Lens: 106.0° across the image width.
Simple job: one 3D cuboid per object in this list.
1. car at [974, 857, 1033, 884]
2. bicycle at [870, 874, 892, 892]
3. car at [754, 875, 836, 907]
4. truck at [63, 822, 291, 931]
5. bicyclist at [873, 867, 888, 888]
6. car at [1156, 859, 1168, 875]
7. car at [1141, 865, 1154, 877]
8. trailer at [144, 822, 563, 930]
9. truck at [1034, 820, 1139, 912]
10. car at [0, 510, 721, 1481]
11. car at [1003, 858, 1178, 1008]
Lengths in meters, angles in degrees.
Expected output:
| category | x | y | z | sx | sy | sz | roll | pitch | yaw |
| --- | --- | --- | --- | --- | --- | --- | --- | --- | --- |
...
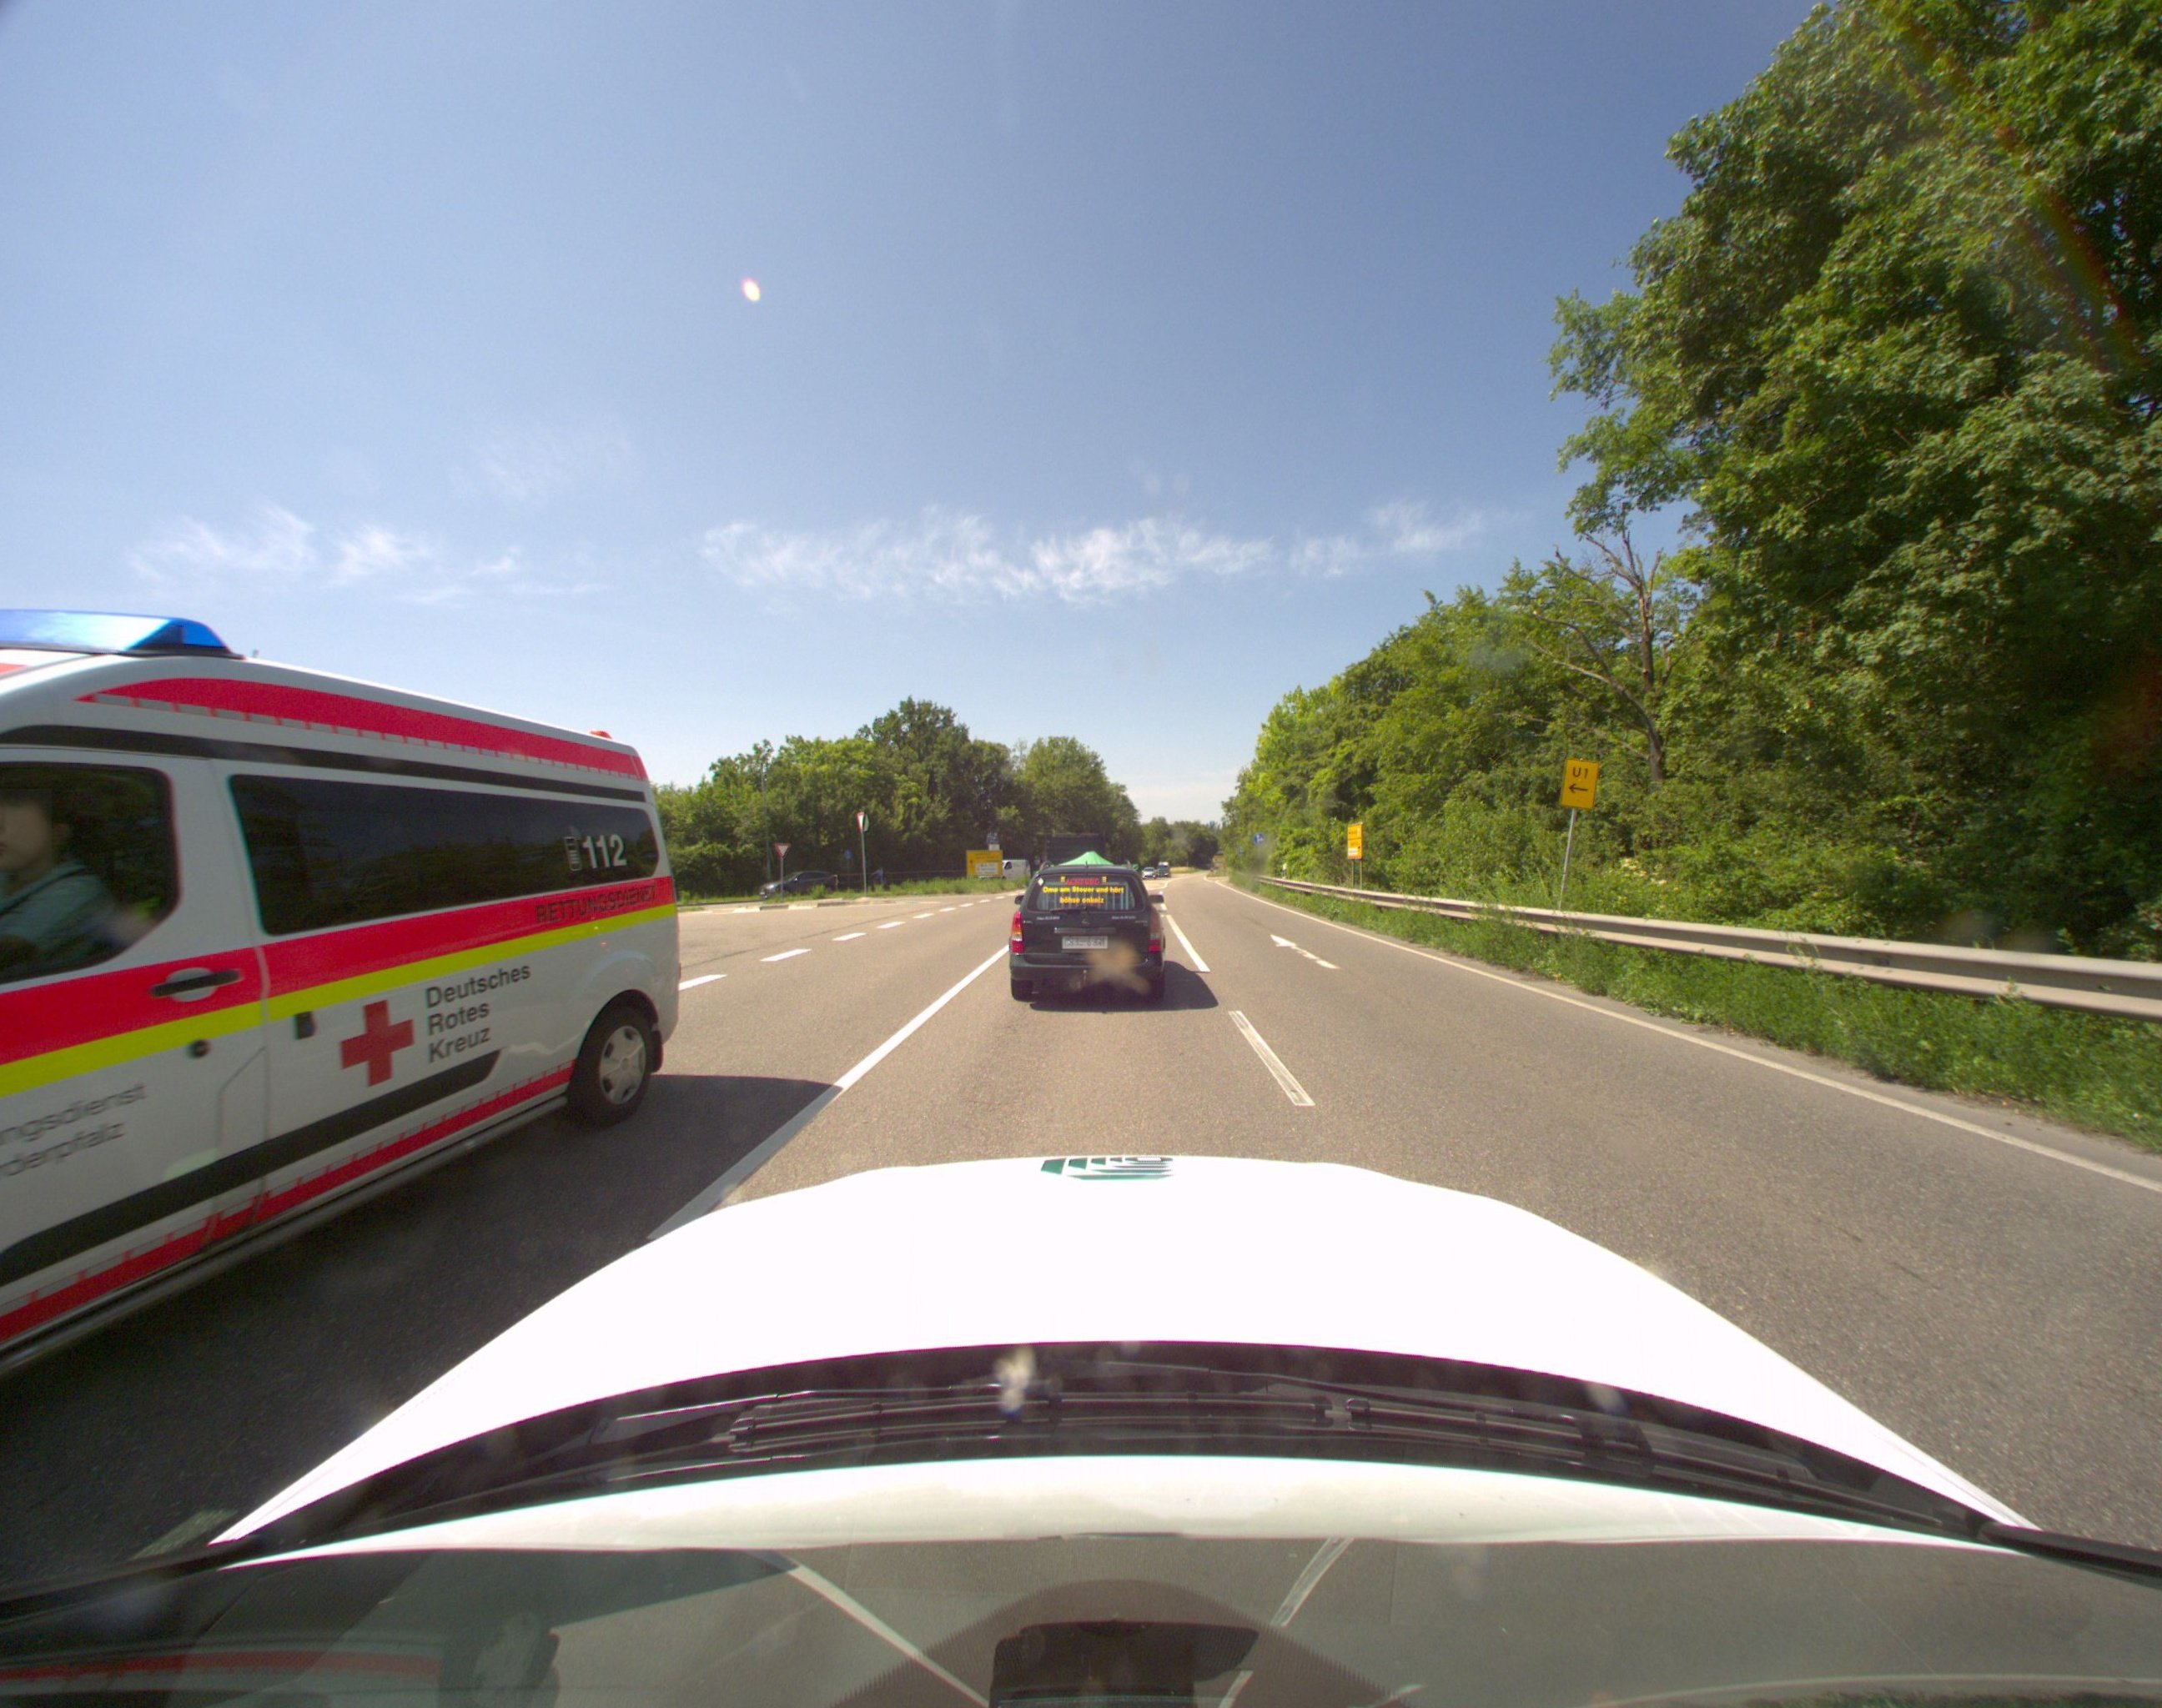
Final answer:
| category | x | y | z | sx | sy | sz | roll | pitch | yaw |
| --- | --- | --- | --- | --- | --- | --- | --- | --- | --- |
| car | -5.674 | 1.172 | 60.225 | 1.992 | 1.924 | 5.223 | -1 | 0 | 24 |
| bicycle | -13.427 | 1.933 | 54.589 | 0.431 | 1.113 | 1.491 | -2 | -1 | 36 |
| car | -15.810 | 2.011 | 45.143 | 3.951 | 1.596 | 1.748 | -1 | 0 | -44 |
| truck | -37.865 | 0.899 | 34.346 | 5.899 | 4.275 | 2.993 | -1 | 0 | -5 |
| bicyclist | -13.439 | 1.558 | 54.556 | 0.681 | 1.363 | 0.613 | -1 | 0 | 37 |
| car | 14.354 | 2.342 | 144.545 | 2.094 | 2.850 | 6.022 | -1 | -1 | 6 |
| car | 8.420 | 2.125 | 103.062 | 1.636 | 1.419 | 3.771 | -1 | -1 | 5 |
| trailer | -31.379 | 0.811 | 36.120 | 13.778 | 4.275 | 2.982 | -1 | 0 | -17 |
| truck | -0.014 | 0.351 | 26.000 | 2.139 | 2.565 | 6.615 | -1 | 0 | -10 |
| car | -3.594 | 0.351 | 3.094 | 1.983 | 2.368 | 5.184 | -1 | 0 | 2 |
| car | 0.187 | 0.788 | 9.945 | 1.713 | 1.457 | 3.800 | -1 | 0 | 3 |
